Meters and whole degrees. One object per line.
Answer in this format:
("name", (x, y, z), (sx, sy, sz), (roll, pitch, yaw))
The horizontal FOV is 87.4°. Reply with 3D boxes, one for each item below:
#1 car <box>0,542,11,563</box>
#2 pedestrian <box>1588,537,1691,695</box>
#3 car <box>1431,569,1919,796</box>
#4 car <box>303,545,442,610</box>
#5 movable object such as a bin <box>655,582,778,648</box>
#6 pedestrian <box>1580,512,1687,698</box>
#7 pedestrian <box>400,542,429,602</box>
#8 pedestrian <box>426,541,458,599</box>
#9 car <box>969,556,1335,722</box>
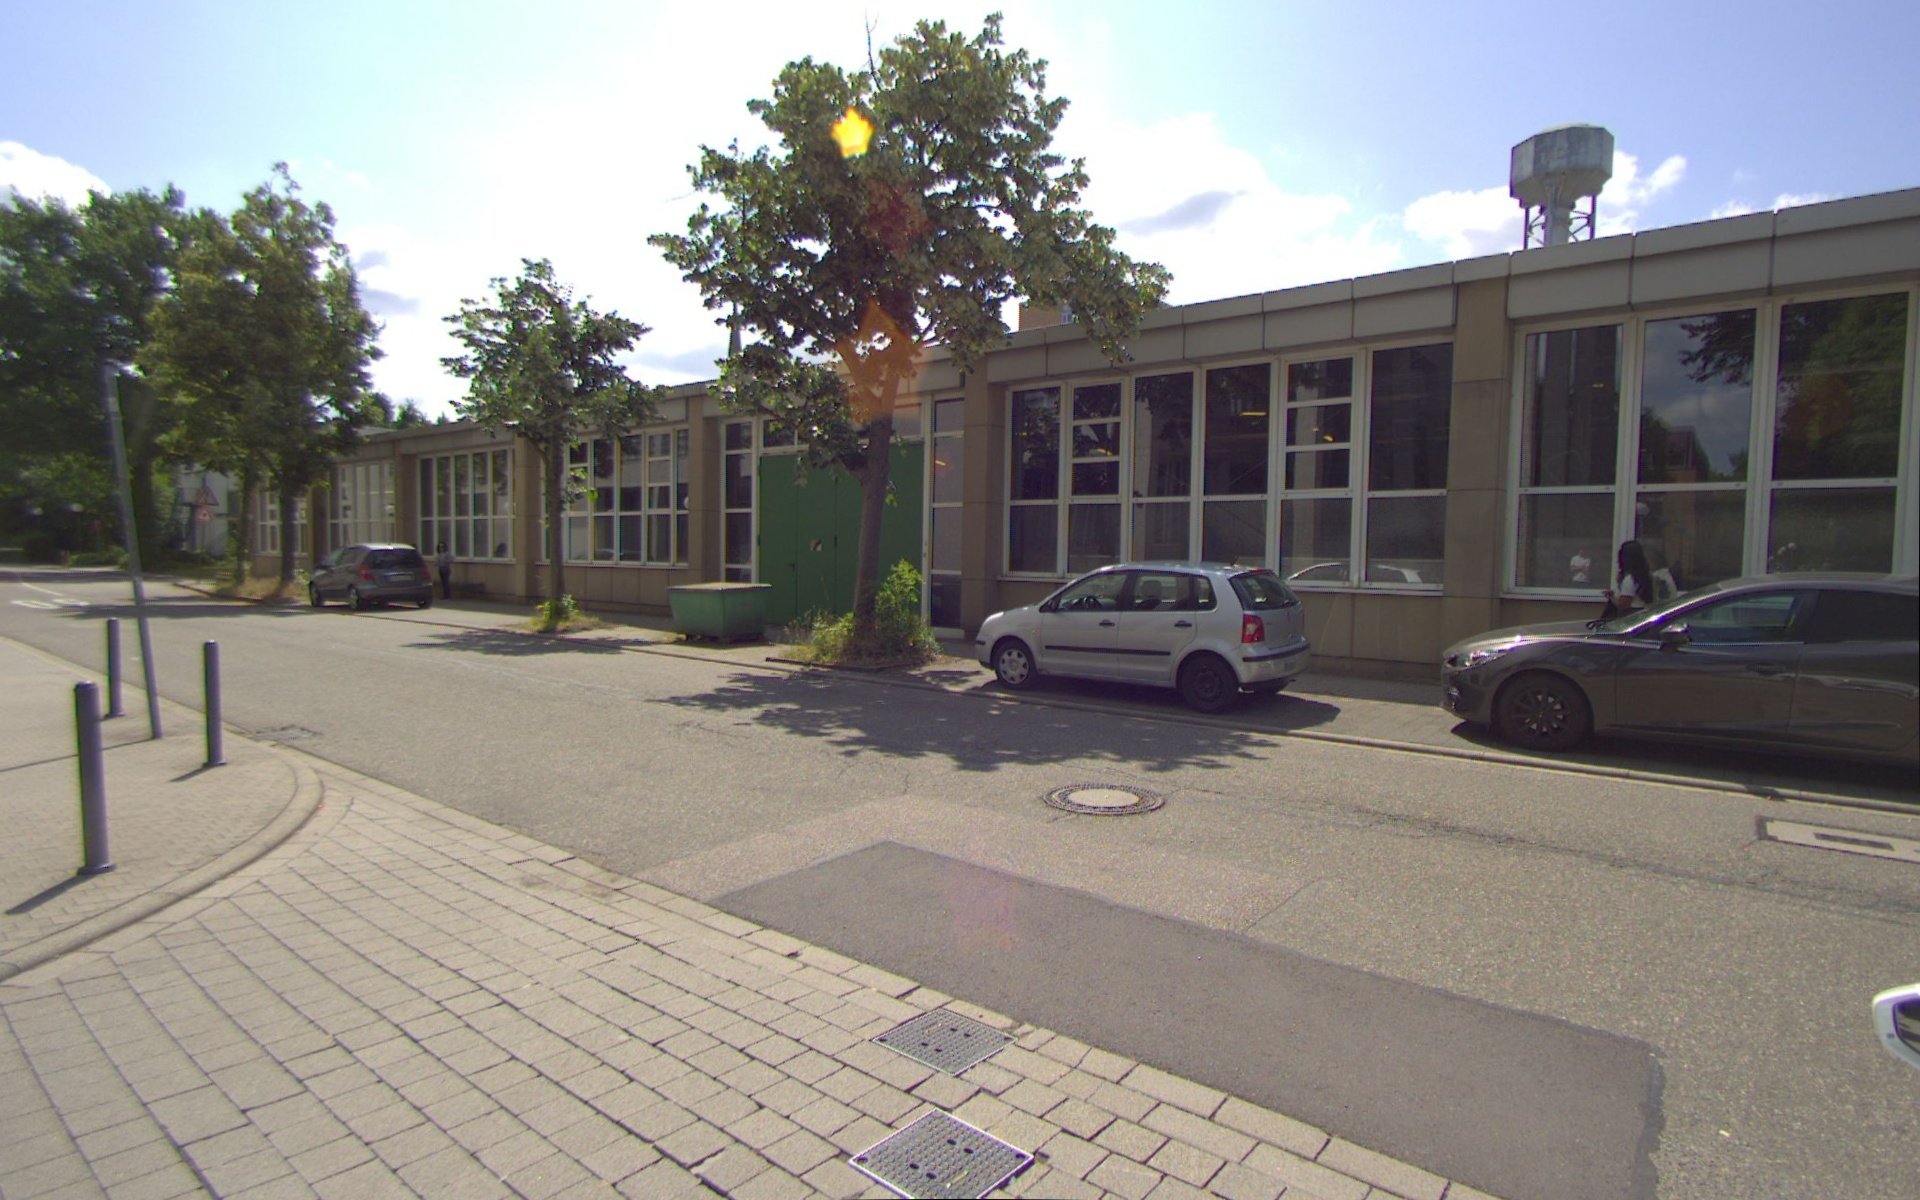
("car", (-67.856, -3.224, 68.938), (1.776, 1.469, 3.660), (3, 6, 37))
("pedestrian", (7.067, 0.138, 10.449), (0.785, 1.563, 0.661), (3, 3, 38))
("car", (6.244, 0.521, 8.010), (4.223, 1.455, 1.723), (2, 4, 39))
("car", (-14.778, -0.624, 25.219), (3.619, 1.469, 1.796), (3, 6, 39))
("movable object such as a bin", (-4.167, 0.223, 17.204), (1.670, 0.998, 1.289), (2, 4, 40))
("pedestrian", (6.673, 0.029, 9.959), (0.785, 1.751, 0.599), (3, 3, 38))
("pedestrian", (-14.995, -0.770, 27.630), (0.596, 1.602, 0.548), (1, 1, -20))
("pedestrian", (-14.585, -0.838, 28.294), (0.542, 1.602, 0.603), (2, 1, 37))
("car", (2.053, 0.295, 11.251), (3.694, 1.469, 1.627), (3, 6, 39))
